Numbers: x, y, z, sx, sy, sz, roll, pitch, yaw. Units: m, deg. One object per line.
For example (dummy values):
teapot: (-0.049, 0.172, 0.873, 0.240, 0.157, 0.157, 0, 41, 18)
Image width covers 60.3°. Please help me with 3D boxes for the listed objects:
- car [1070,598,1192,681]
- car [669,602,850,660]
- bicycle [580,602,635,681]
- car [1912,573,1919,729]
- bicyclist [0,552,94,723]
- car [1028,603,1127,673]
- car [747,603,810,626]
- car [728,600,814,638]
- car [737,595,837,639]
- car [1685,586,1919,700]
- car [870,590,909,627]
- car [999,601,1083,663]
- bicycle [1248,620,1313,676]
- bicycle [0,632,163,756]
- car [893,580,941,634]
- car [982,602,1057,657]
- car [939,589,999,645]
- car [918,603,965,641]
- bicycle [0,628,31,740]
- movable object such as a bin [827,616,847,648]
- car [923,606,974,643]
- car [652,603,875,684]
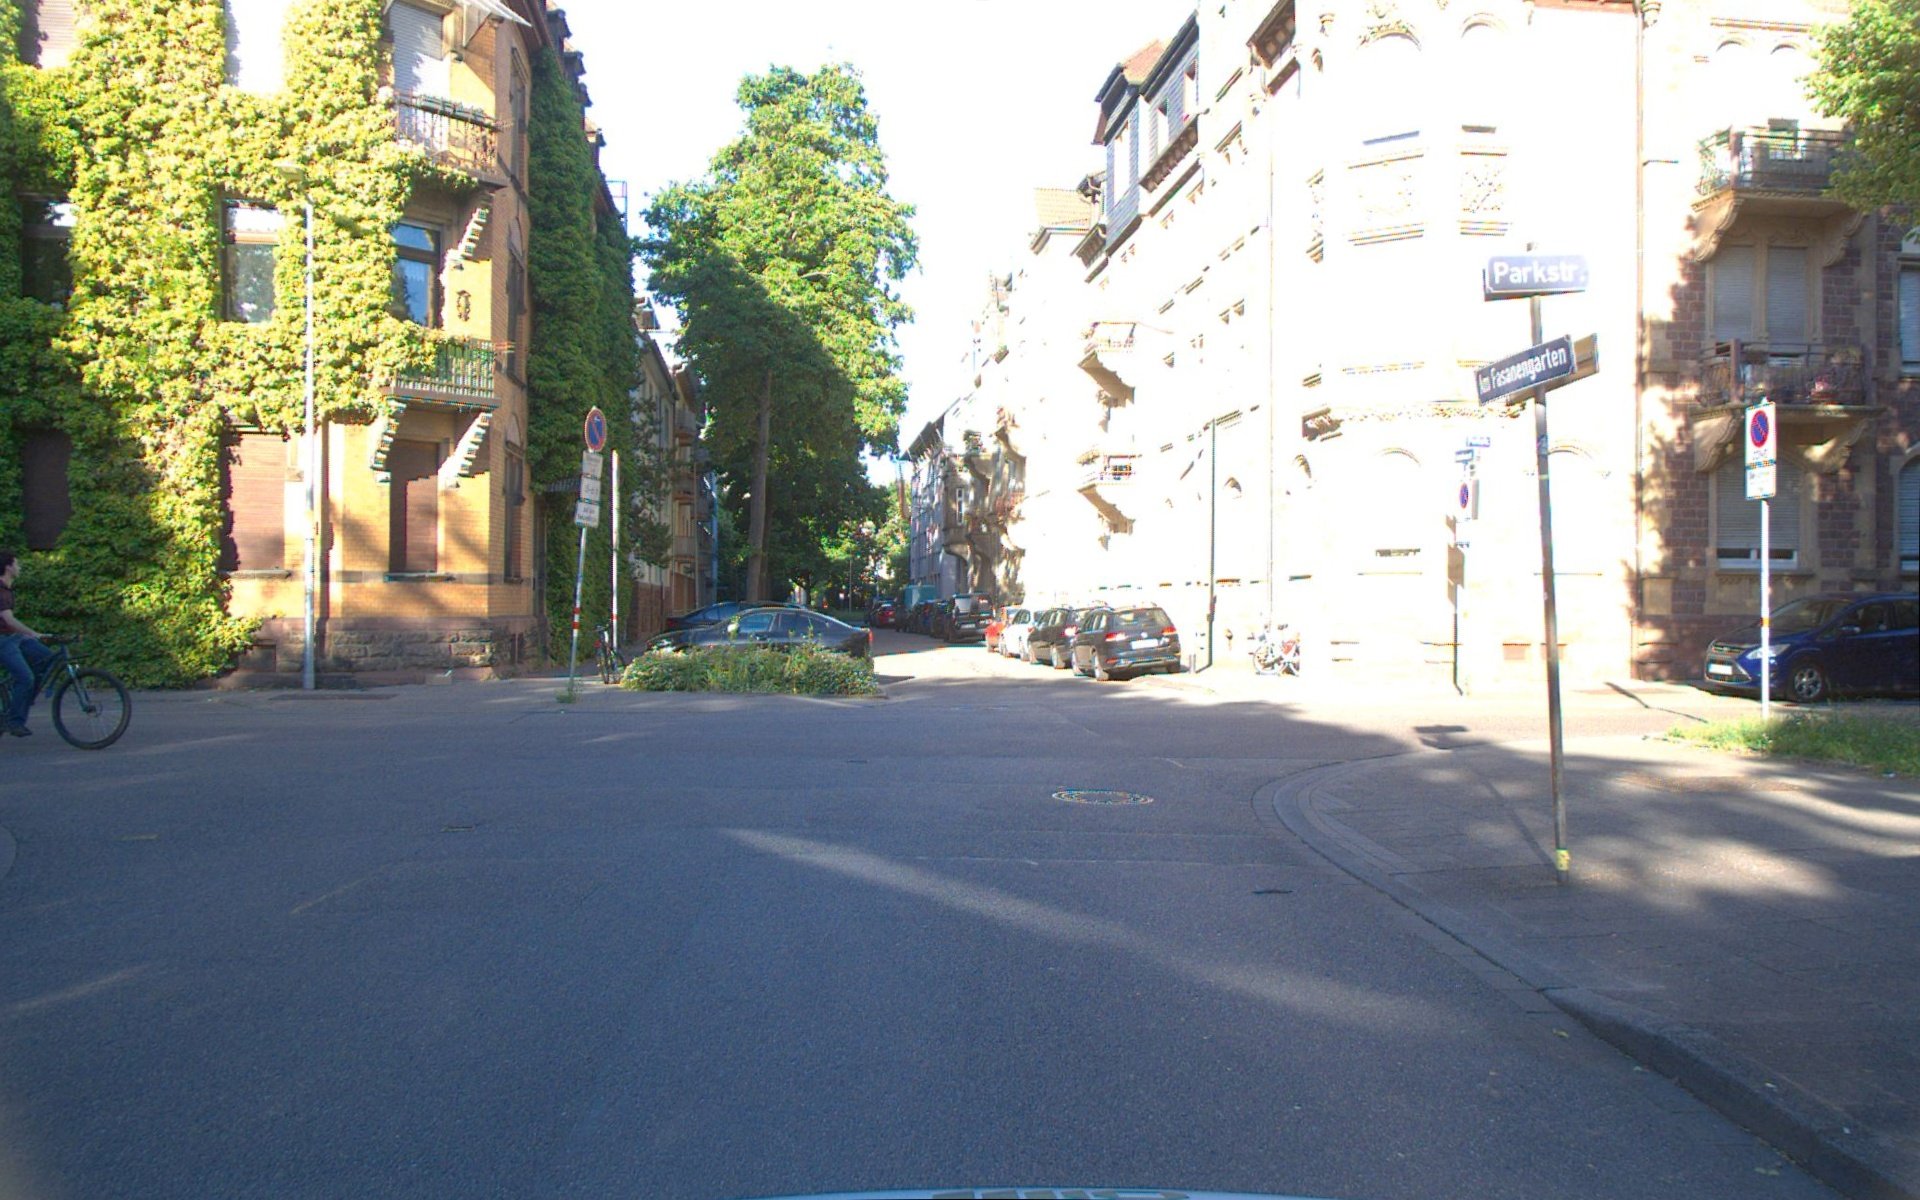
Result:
car: (3.484, 0.798, 34.423, 1.704, 1.609, 3.994, 1, -1, -6)
car: (-5.402, 0.836, 44.627, 4.744, 1.460, 1.707, 1, -1, -9)
bicycle: (-5.954, 0.682, 28.003, 0.551, 1.290, 1.603, -1, 0, 1)
car: (11.053, 0.478, 15.131, 1.957, 1.583, 3.989, 1, -2, -10)
bicyclist: (-8.752, 0.346, 15.446, 0.951, 1.553, 0.719, 1, -1, -10)
car: (2.827, 0.900, 40.503, 1.704, 1.609, 3.994, 1, -1, -6)
car: (-10.983, 0.879, 99.812, 3.730, 1.262, 1.707, 1, -1, -9)
car: (-8.451, 0.865, 73.711, 3.730, 1.603, 1.707, 1, -1, -9)
car: (-6.701, 0.653, 64.083, 3.732, 1.603, 1.706, 1, -1, -10)
car: (13.717, 0.665, 25.795, 4.169, 1.650, 1.731, 1, 1, -11)
car: (-4.490, 0.549, 105.192, 2.124, 2.276, 4.784, 1, -1, -6)
car: (2.214, 0.864, 45.972, 1.704, 1.609, 3.994, 1, -1, -6)
bicycle: (6.013, 0.891, 31.104, 0.506, 1.015, 1.568, 1, -1, -18)
bicycle: (-8.570, 0.872, 15.444, 1.926, 1.091, 0.556, 1, 2, -10)
car: (-2.318, 0.382, 88.209, 2.124, 2.738, 4.784, 1, -1, -6)
car: (1.782, 0.886, 50.505, 1.704, 1.609, 3.994, 1, -1, -6)
car: (0.311, 0.642, 62.858, 1.768, 2.039, 3.994, 1, -1, -6)
car: (-0.900, 1.014, 77.946, 1.768, 1.708, 3.994, 1, -1, -6)
bicycle: (-10.376, 0.852, 16.354, 1.929, 1.091, 0.696, -1, 0, -15)
movable object such as a bin: (-4.177, 1.086, 56.113, 0.618, 1.071, 0.566, 1, -1, -12)
car: (-0.515, 1.047, 71.209, 1.768, 1.541, 3.994, 1, -1, -6)
car: (-3.840, 0.843, 32.335, 4.164, 1.460, 1.996, 1, -1, -8)
